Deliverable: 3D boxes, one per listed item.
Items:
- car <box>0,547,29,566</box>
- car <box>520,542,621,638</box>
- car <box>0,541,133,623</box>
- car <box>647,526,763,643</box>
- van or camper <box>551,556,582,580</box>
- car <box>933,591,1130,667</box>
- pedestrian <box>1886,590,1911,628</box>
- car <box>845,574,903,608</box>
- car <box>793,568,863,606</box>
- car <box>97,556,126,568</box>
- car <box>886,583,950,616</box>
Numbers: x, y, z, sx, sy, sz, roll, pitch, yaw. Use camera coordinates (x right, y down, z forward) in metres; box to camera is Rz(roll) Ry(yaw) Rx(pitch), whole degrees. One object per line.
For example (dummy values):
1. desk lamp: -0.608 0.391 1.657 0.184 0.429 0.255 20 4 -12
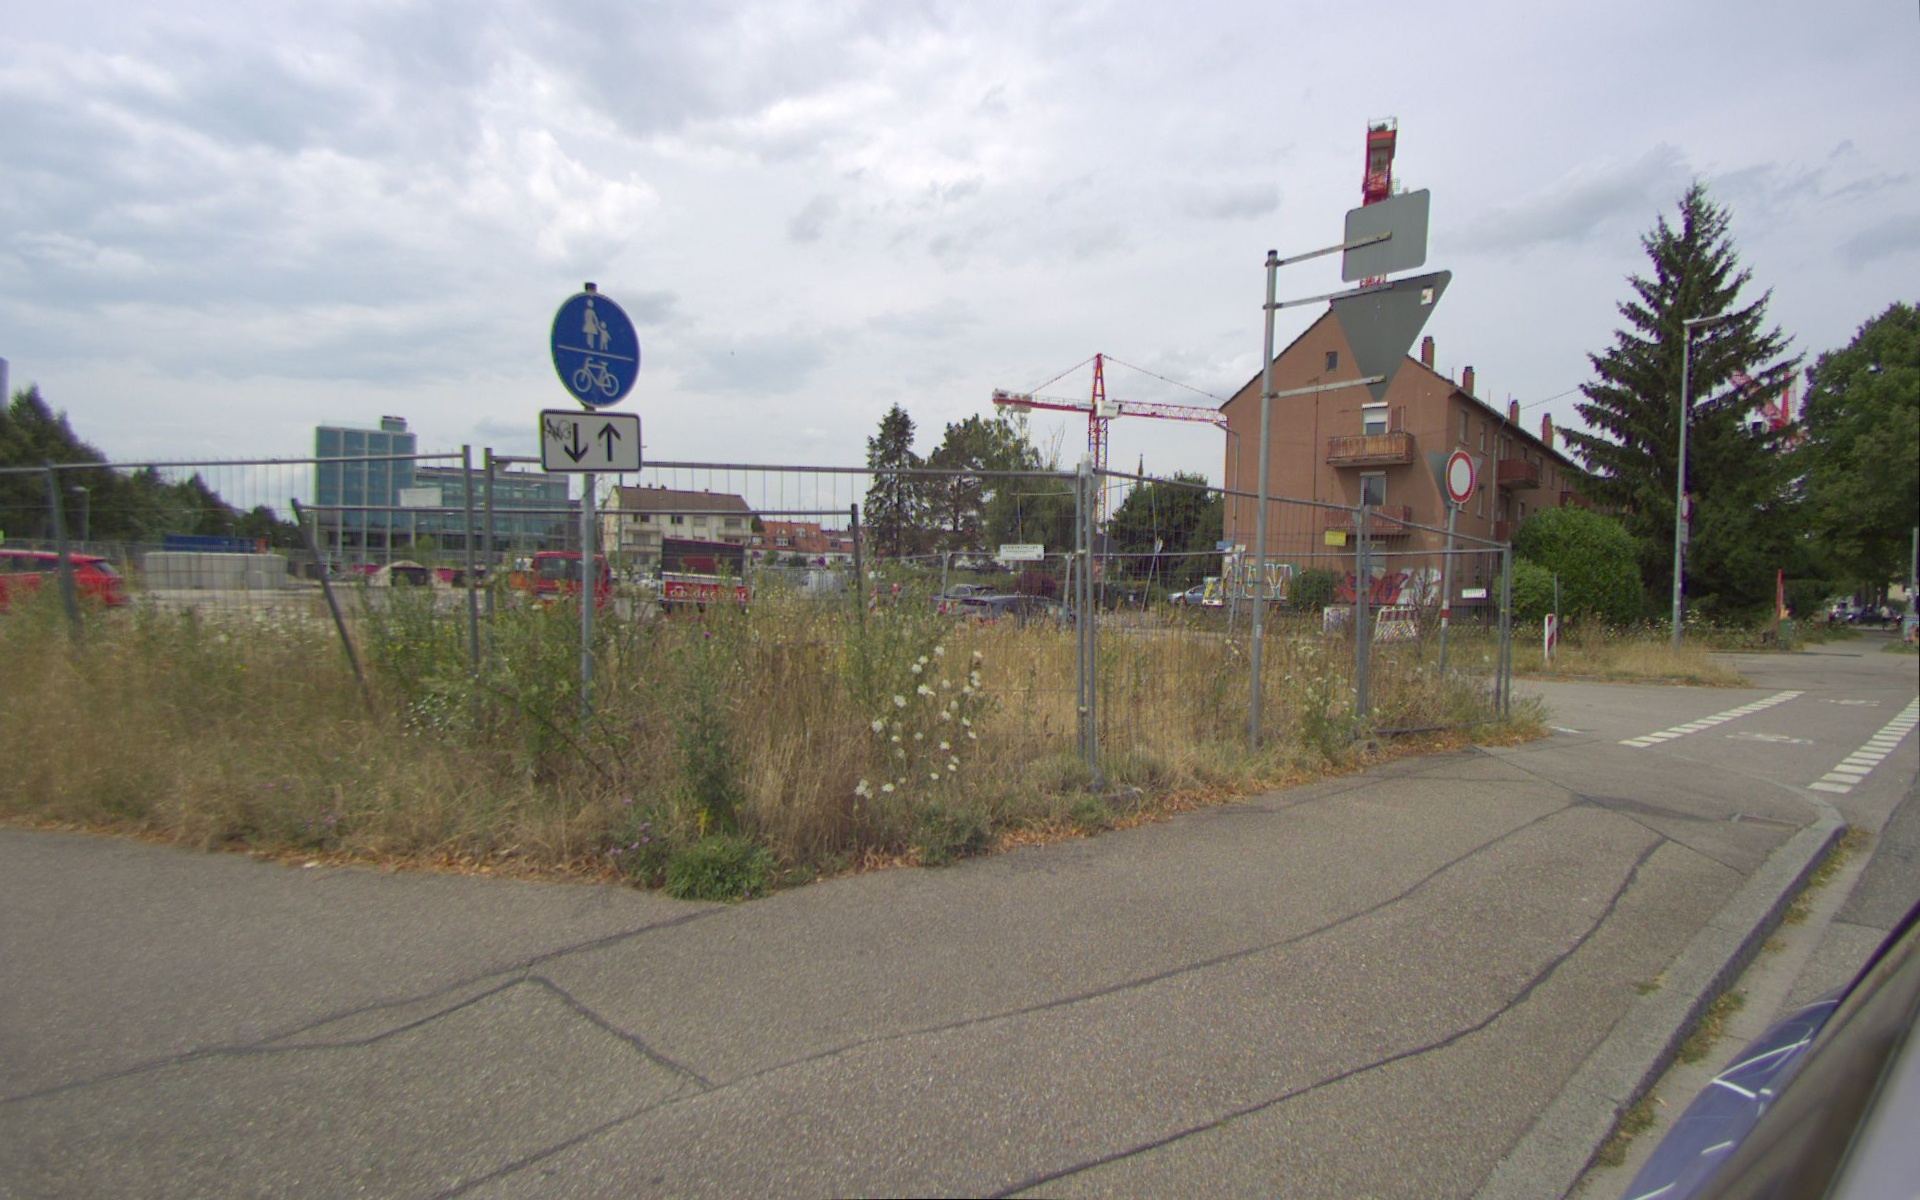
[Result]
1. car: -89.635 -4.084 95.258 1.960 1.638 4.757 1 1 -31
2. car: -9.136 -0.255 24.039 1.896 1.934 4.999 4 0 -19
3. car: -19.889 -0.387 20.249 5.043 1.624 1.789 1 1 -37
4. car: -6.336 -0.393 24.522 2.269 2.442 6.557 1 1 -18
5. van or camper: -46.338 -3.747 119.084 2.307 2.721 5.247 1 1 -34
6. car: 1.628 0.596 22.347 4.179 1.492 1.767 1 1 -37
7. pedestrian: 51.453 0.468 55.483 0.850 2.039 0.723 2 0 34
8. car: -4.921 -0.535 57.398 1.820 1.771 4.019 1 1 -29
9. car: -8.143 -0.820 62.082 2.107 2.163 4.909 1 1 -36
10. car: -102.873 -4.559 122.716 1.960 1.391 4.005 1 1 -30
11. car: -2.251 -0.036 53.046 1.765 1.622 4.020 1 1 -28
